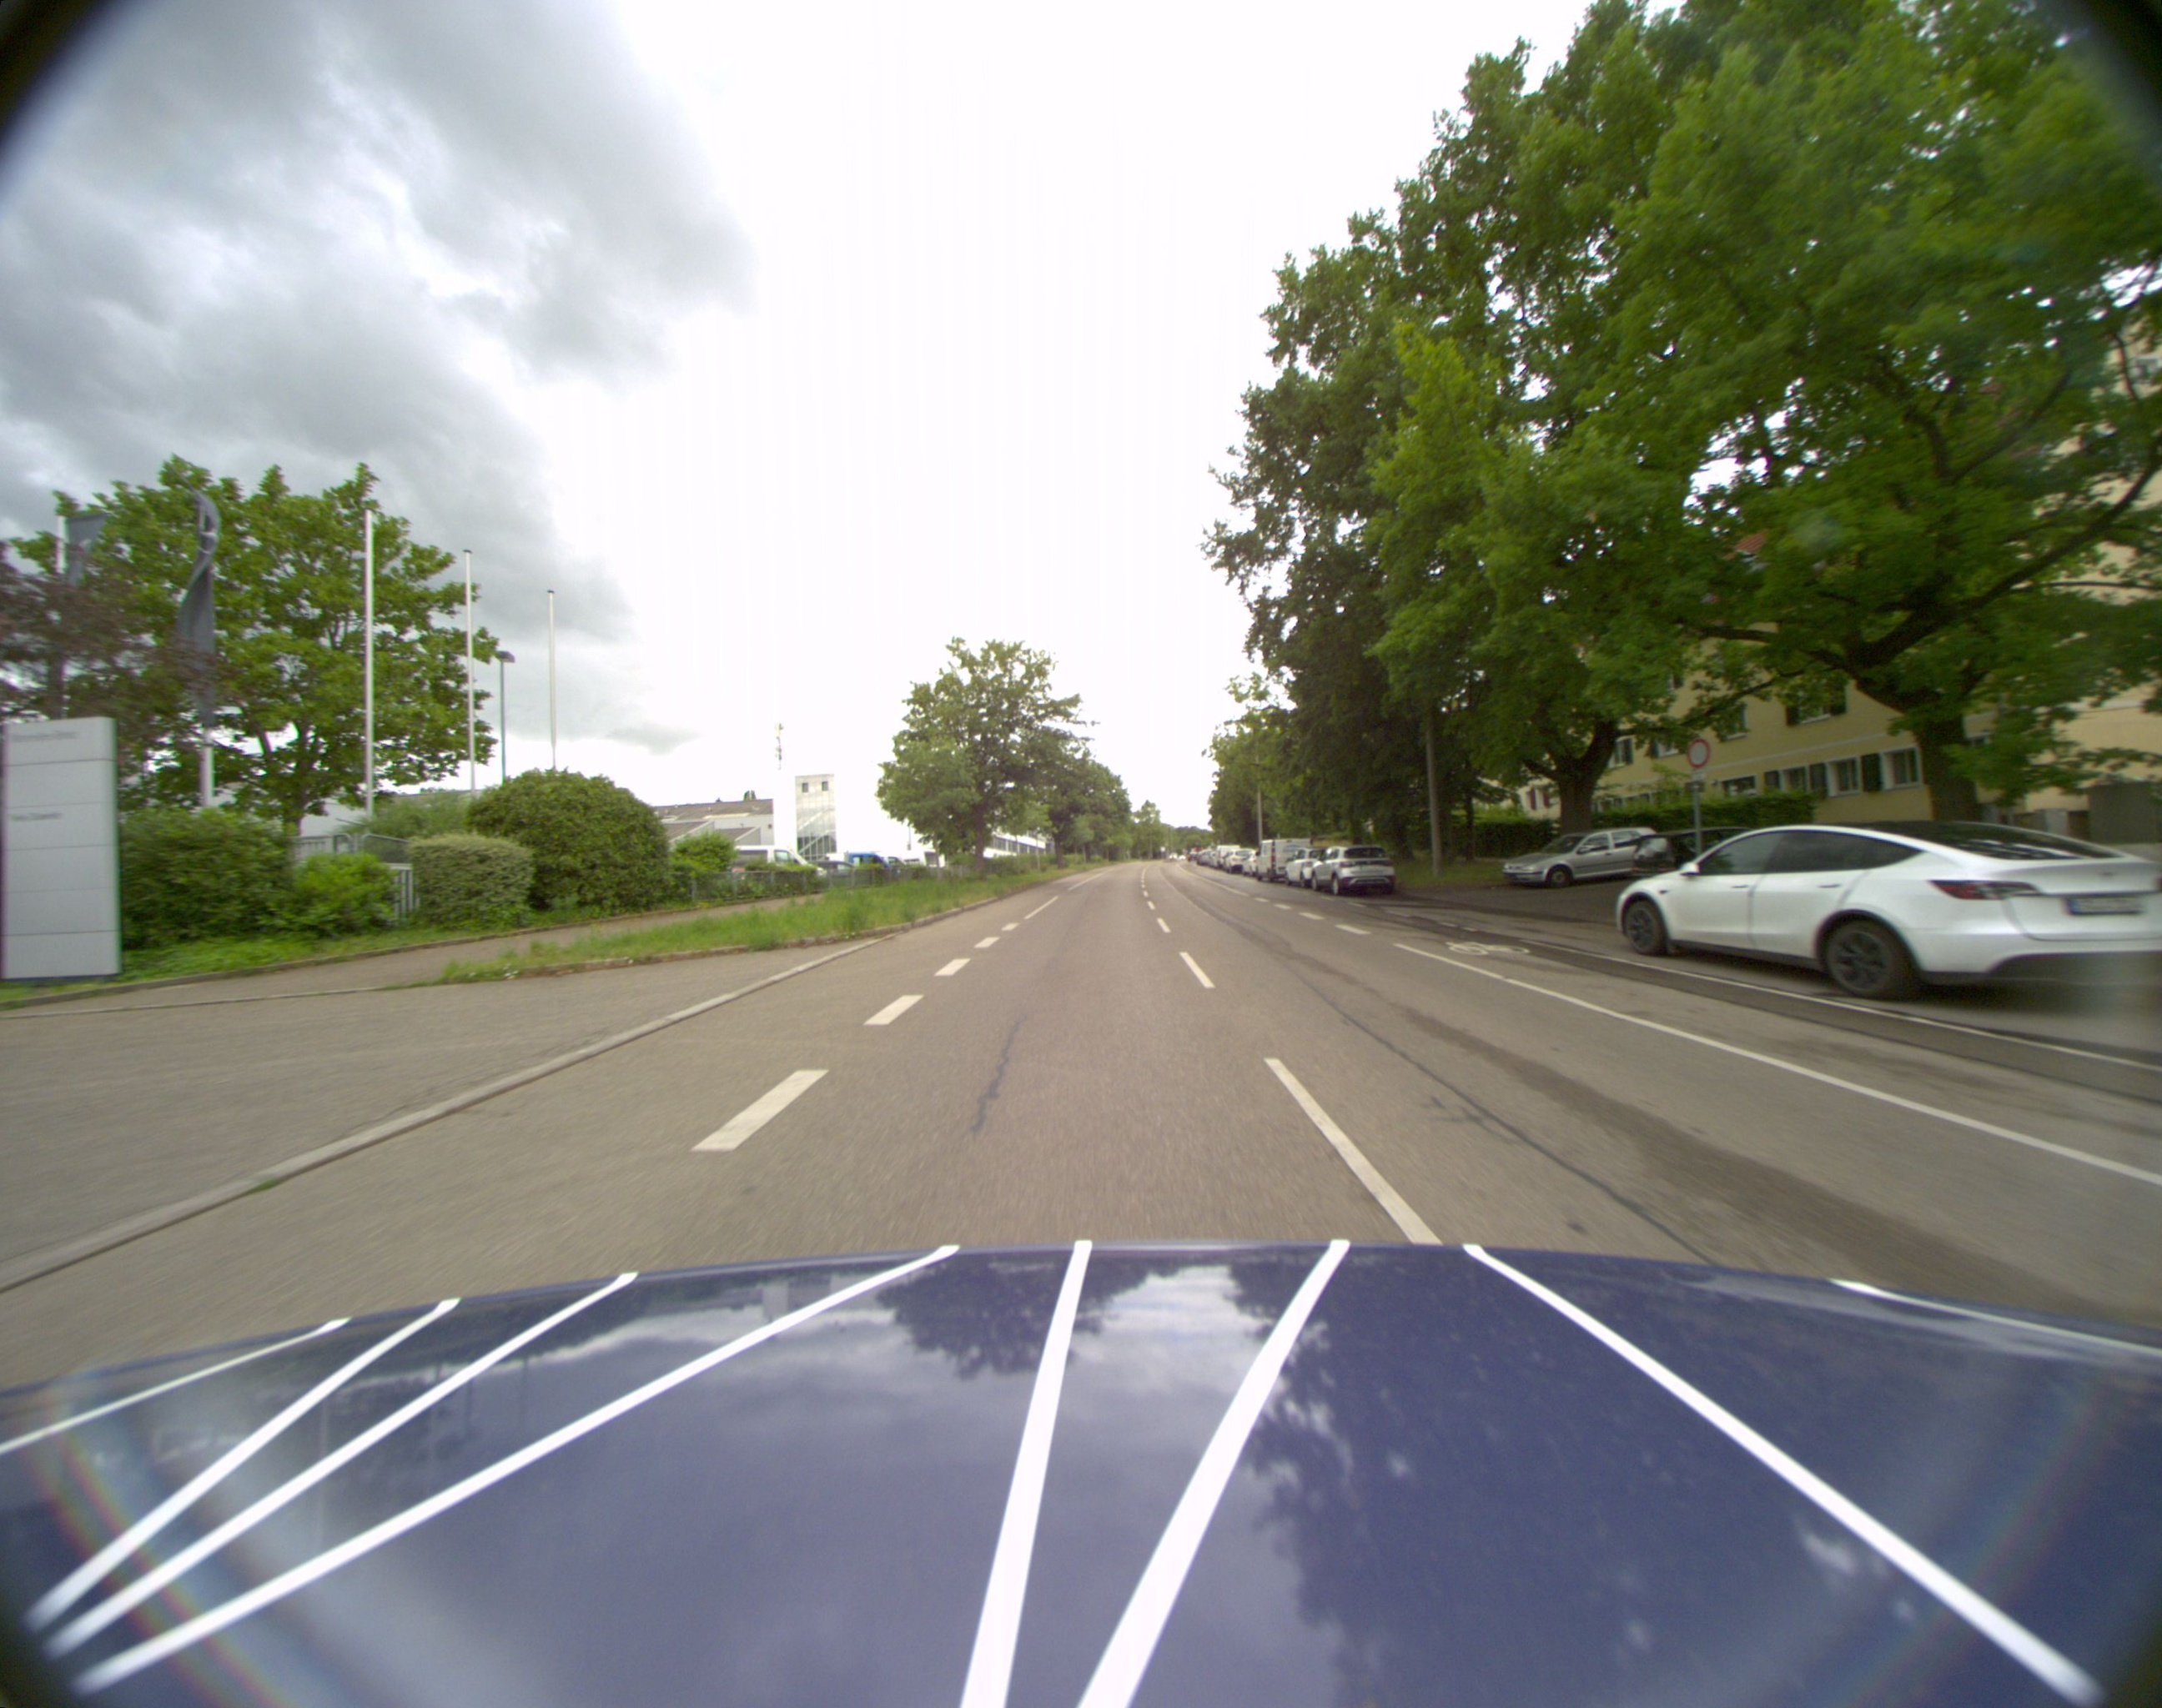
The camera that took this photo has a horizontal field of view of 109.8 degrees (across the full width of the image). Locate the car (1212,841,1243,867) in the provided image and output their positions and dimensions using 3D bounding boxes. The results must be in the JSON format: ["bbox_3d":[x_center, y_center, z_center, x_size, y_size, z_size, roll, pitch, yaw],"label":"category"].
[{"bbox_3d":[11.715,0.035,60.933,1.772,1.919,5.157,-3,0,5],"label":"car"}]

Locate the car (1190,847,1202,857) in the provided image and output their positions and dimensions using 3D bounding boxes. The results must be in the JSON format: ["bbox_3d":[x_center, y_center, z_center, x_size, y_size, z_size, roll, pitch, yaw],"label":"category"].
[{"bbox_3d":[18.177,-0.334,120.104,1.640,1.459,4.003,-1,0,12],"label":"car"}]

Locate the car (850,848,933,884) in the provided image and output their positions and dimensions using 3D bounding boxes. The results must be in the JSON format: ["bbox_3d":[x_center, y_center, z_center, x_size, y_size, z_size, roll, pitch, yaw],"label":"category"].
[{"bbox_3d":[-13.055,0.815,52.274,5.266,2.175,2.068,-3,0,-20],"label":"car"}]

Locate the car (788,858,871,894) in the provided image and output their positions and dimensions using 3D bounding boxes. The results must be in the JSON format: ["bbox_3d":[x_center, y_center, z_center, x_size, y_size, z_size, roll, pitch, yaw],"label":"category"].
[{"bbox_3d":[-13.536,1.154,40.894,4.004,1.620,1.996,-3,0,-22],"label":"car"}]

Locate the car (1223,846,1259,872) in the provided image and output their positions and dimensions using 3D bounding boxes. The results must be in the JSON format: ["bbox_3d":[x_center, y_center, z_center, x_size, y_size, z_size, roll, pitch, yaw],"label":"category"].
[{"bbox_3d":[10.383,0.318,49.582,1.677,1.555,4.282,-2,0,4],"label":"car"}]

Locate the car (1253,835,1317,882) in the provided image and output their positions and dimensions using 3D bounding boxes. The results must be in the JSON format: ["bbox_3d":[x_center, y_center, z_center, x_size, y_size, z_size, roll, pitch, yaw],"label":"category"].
[{"bbox_3d":[9.362,0.198,35.281,1.870,1.952,5.128,-2,0,4],"label":"car"}]

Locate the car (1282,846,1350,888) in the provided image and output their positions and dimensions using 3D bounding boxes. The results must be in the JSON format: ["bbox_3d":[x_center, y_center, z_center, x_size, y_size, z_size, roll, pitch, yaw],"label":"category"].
[{"bbox_3d":[9.068,0.482,29.576,1.585,1.473,3.720,-2,0,2],"label":"car"}]

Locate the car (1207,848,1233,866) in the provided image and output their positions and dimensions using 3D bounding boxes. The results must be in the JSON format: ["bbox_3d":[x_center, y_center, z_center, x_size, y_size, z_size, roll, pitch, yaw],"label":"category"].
[{"bbox_3d":[12.236,0.270,67.048,1.639,1.425,3.951,-3,0,2],"label":"car"}]

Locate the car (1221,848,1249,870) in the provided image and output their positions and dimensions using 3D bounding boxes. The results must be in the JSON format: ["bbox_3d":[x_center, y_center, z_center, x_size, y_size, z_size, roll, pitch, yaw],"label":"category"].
[{"bbox_3d":[11.050,0.339,54.772,1.676,1.479,4.046,-1,0,7],"label":"car"}]

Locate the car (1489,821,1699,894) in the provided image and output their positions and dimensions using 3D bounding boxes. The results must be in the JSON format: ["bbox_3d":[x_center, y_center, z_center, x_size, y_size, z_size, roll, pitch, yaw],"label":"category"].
[{"bbox_3d":[14.120,0.086,21.109,4.443,1.442,1.869,-7,0,0],"label":"car"}]

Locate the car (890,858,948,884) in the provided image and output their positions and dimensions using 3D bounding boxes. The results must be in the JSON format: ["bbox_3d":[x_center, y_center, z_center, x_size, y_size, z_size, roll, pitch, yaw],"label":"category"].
[{"bbox_3d":[-14.626,1.511,68.819,4.584,2.022,2.067,-3,0,-34],"label":"car"}]

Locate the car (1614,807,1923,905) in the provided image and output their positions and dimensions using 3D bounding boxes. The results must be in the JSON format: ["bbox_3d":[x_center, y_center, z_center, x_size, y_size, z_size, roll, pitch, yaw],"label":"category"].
[{"bbox_3d":[14.167,0.054,15.916,4.441,1.446,1.887,-6,0,6],"label":"car"}]

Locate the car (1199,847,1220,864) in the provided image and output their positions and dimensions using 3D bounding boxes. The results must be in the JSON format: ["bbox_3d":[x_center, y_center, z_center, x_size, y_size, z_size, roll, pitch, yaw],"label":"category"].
[{"bbox_3d":[13.212,0.152,78.384,1.771,1.582,4.136,-2,0,5],"label":"car"}]

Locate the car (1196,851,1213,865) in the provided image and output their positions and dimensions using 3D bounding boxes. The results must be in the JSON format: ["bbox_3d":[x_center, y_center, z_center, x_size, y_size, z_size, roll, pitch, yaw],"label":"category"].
[{"bbox_3d":[13.564,0.398,83.759,1.771,1.439,4.152,-2,0,9],"label":"car"}]

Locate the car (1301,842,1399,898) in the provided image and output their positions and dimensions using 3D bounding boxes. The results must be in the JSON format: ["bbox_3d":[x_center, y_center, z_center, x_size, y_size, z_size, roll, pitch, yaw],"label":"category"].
[{"bbox_3d":[8.646,0.471,24.771,1.770,1.624,4.158,-2,0,2],"label":"car"}]

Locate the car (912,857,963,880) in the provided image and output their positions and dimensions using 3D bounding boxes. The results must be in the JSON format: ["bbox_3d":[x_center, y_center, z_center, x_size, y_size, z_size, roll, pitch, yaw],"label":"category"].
[{"bbox_3d":[-14.634,1.502,77.537,4.584,2.022,2.067,-3,0,-34],"label":"car"}]

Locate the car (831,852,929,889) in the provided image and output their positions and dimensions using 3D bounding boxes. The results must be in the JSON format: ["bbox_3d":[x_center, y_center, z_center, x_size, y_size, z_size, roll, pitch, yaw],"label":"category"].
[{"bbox_3d":[-12.781,1.013,48.351,5.830,1.945,2.069,-3,0,-16],"label":"car"}]

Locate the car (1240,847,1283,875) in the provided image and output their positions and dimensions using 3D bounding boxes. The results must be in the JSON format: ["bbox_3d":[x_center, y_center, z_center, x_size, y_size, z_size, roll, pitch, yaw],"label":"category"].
[{"bbox_3d":[10.303,0.353,43.640,1.666,1.470,4.091,-2,0,3],"label":"car"}]

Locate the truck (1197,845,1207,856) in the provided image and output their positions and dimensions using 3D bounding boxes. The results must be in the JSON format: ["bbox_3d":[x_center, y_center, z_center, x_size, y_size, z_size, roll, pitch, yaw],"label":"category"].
[{"bbox_3d":[37.978,-1.053,238.582,2.829,3.460,7.830,-2,0,12],"label":"truck"}]

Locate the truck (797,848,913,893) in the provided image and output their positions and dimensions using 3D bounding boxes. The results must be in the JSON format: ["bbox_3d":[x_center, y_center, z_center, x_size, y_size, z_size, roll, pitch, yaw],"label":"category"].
[{"bbox_3d":[-13.311,0.932,44.736,6.259,2.199,2.243,-3,0,-22],"label":"truck"}]

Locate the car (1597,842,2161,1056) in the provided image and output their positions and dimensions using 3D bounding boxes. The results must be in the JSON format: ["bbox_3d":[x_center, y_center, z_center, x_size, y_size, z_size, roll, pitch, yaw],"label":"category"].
[{"bbox_3d":[7.844,0.689,8.013,1.771,1.564,4.760,-1,1,3],"label":"car"}]

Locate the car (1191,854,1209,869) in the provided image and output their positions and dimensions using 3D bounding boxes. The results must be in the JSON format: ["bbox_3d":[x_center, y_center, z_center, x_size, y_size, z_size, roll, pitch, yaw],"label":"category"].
[{"bbox_3d":[13.823,0.836,88.234,1.878,1.561,4.654,-3,0,9],"label":"car"}]

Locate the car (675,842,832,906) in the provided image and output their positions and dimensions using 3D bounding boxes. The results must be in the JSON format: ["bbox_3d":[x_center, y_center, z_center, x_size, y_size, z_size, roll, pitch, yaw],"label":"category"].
[{"bbox_3d":[-14.179,0.826,33.400,6.034,2.353,2.359,-3,0,-18],"label":"car"}]
